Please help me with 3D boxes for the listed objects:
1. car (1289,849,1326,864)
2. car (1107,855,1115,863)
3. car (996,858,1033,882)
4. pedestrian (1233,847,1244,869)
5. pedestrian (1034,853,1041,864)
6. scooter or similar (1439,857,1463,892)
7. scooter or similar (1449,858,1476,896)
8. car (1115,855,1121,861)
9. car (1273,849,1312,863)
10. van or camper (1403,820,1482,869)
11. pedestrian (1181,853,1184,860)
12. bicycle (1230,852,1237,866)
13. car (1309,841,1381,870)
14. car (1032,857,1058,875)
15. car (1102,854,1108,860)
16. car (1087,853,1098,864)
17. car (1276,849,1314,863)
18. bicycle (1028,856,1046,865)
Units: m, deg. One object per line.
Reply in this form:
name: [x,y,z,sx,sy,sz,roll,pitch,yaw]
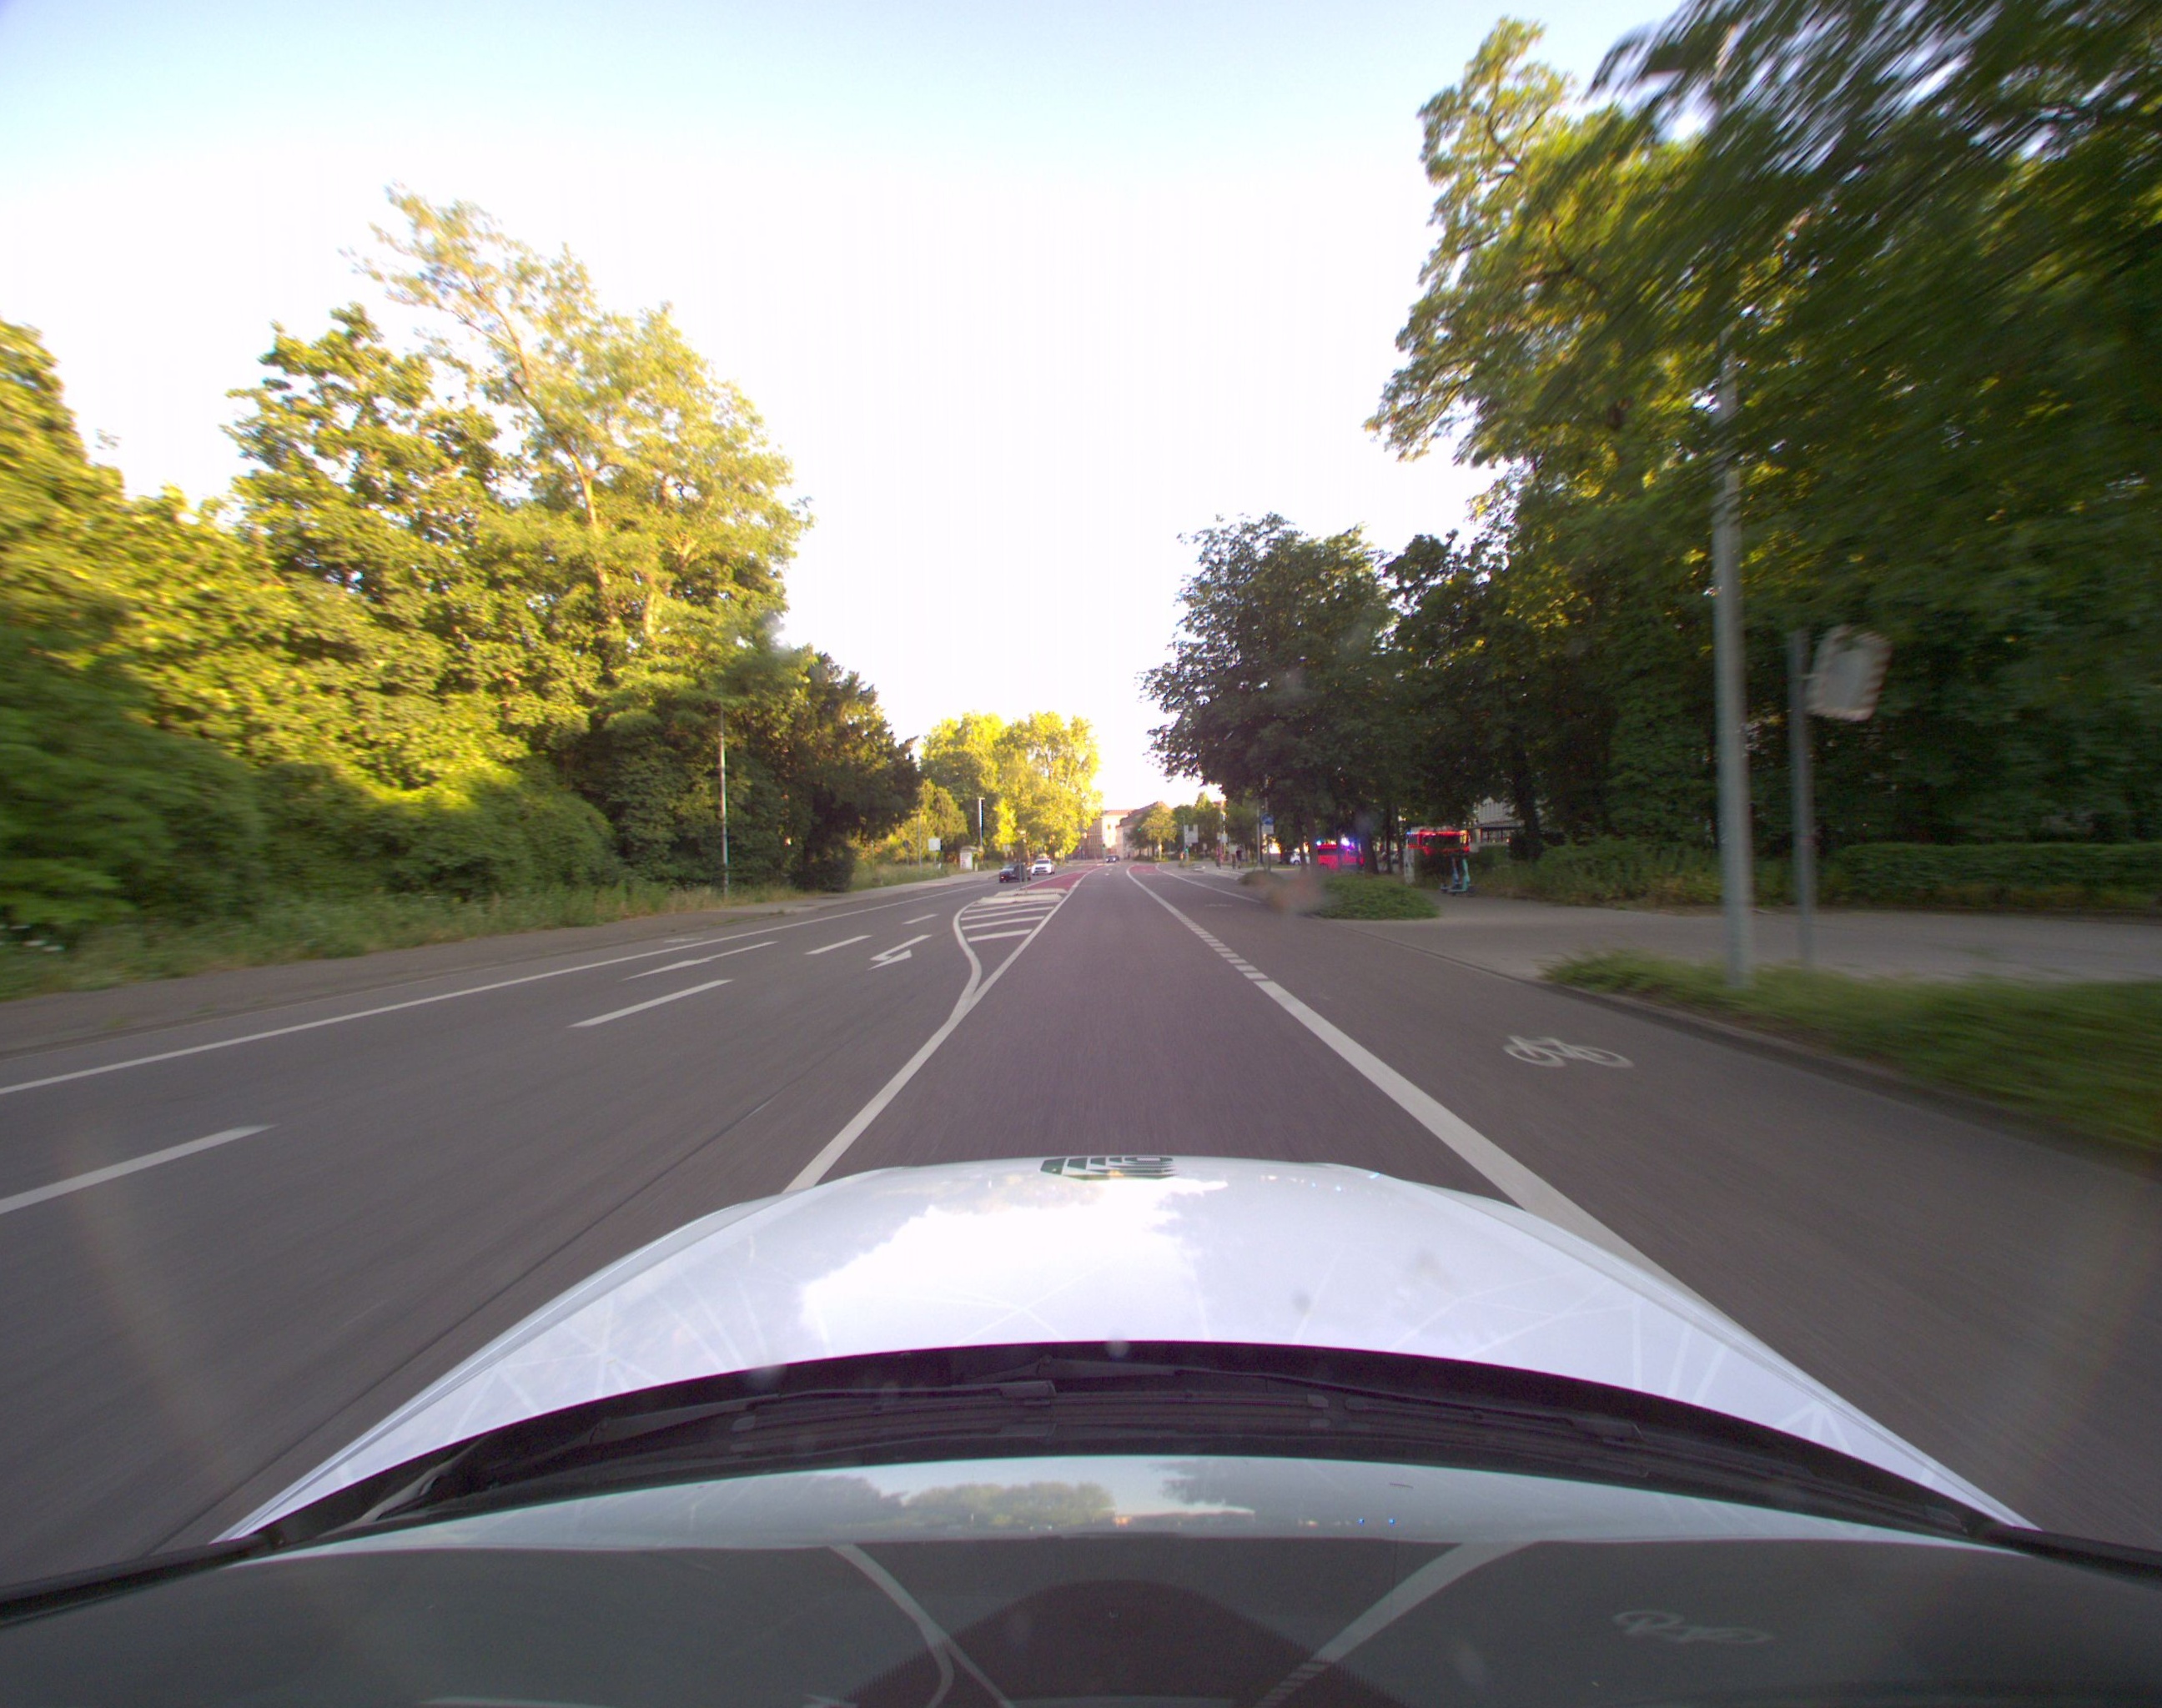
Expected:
car: [24.965,0.252,89.784,3.751,1.590,1.720,-2,0,9]
car: [6.023,0.955,161.724,1.487,1.486,3.493,-2,0,2]
car: [-4.397,1.035,54.489,1.789,1.453,4.132,-2,0,4]
pedestrian: [12.962,0.310,67.079,0.766,1.740,0.732,-2,0,2]
pedestrian: [-6.209,0.662,115.996,0.786,1.580,0.748,0,0,11]
scooter or similar: [11.272,0.613,24.826,0.309,1.041,0.981,-2,0,2]
scooter or similar: [10.919,0.651,23.302,0.309,1.041,0.981,-2,0,2]
car: [9.849,0.960,216.117,1.487,1.486,3.493,-2,0,2]
car: [25.781,0.218,99.170,4.433,1.590,1.720,-2,0,9]
van or camper: [25.522,-0.646,57.976,3.415,3.199,8.258,0,0,12]
pedestrian: [18.840,0.503,150.984,0.388,1.238,0.404,-2,0,2]
bicycle: [12.539,0.425,66.945,0.298,1.099,1.523,-2,0,4]
car: [19.729,0.108,61.111,4.881,1.990,1.927,-2,0,9]
car: [-3.233,1.047,73.280,1.789,1.453,4.132,-2,0,4]
car: [6.381,0.808,217.099,1.487,1.486,3.493,-2,0,2]
car: [1.670,0.676,116.795,1.487,1.486,3.493,-2,0,2]
car: [26.877,0.222,102.374,4.433,1.590,1.720,-2,0,9]
bicycle: [-6.282,0.903,115.995,2.446,1.195,0.759,-2,0,11]
